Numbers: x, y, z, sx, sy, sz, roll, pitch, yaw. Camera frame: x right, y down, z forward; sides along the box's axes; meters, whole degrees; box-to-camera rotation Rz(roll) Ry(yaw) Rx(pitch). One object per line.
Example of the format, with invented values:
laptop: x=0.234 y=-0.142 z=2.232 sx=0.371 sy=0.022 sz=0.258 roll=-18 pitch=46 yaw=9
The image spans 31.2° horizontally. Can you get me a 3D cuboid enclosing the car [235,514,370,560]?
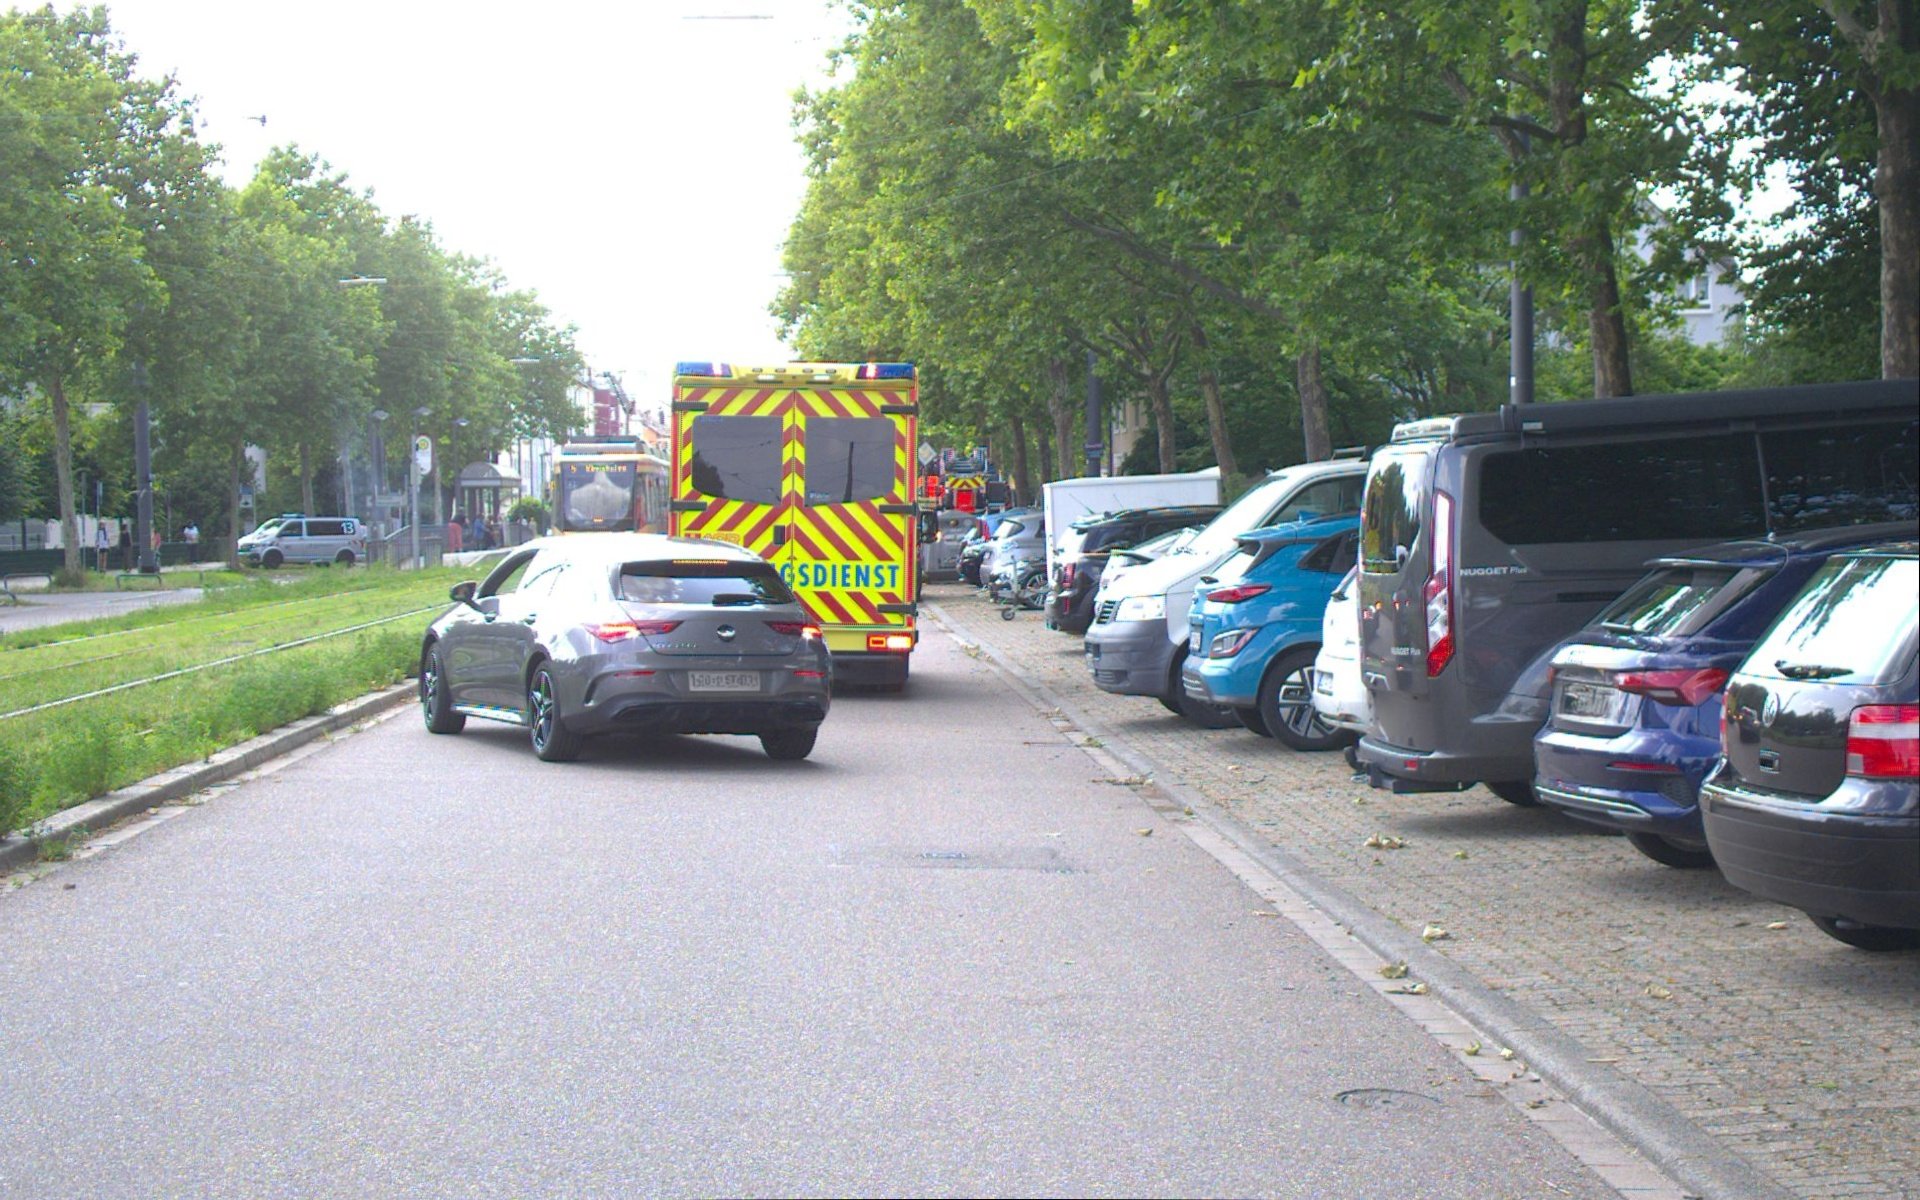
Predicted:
car: x=-24.670 y=-2.364 z=129.012 sx=4.615 sy=1.627 sz=1.882 roll=-2 pitch=2 yaw=-41

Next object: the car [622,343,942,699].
car: x=-1.555 y=-0.736 z=32.539 sx=2.641 sy=2.956 sz=6.300 roll=2 pitch=1 yaw=-1

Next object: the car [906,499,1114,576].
car: x=1.121 y=-1.442 z=78.884 sx=4.545 sy=1.603 sz=1.856 roll=-2 pitch=1 yaw=-6

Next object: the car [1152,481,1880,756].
car: x=3.741 y=0.092 z=23.542 sx=4.545 sy=1.654 sz=1.856 roll=-2 pitch=1 yaw=-6

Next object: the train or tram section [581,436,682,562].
train or tram section: x=-9.861 y=-2.986 z=103.676 sx=2.511 sy=3.572 sz=7.446 roll=-2 pitch=1 yaw=-2

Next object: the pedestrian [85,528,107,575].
pedestrian: x=-26.284 y=-1.482 z=104.539 sx=0.422 sy=1.409 sz=0.467 roll=-1 pitch=1 yaw=23

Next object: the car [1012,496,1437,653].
car: x=2.979 y=-0.311 z=39.284 sx=4.545 sy=1.603 sz=1.856 roll=-2 pitch=1 yaw=-6

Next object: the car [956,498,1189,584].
car: x=2.285 y=-1.212 z=70.681 sx=4.545 sy=1.603 sz=1.856 roll=-2 pitch=1 yaw=-6

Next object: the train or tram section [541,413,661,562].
train or tram section: x=-9.210 y=-2.828 z=88.810 sx=2.511 sy=3.572 sz=7.446 roll=-2 pitch=1 yaw=-2

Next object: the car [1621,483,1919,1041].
car: x=4.371 y=0.381 z=11.144 sx=3.964 sy=1.600 sz=1.757 roll=-2 pitch=1 yaw=-12

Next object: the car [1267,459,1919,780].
car: x=4.285 y=0.072 z=21.022 sx=4.545 sy=1.760 sz=1.856 roll=-2 pitch=1 yaw=-2

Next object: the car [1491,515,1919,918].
car: x=4.325 y=0.386 z=13.995 sx=3.965 sy=1.489 sz=1.756 roll=-2 pitch=1 yaw=-2

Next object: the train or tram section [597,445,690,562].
train or tram section: x=-10.175 y=-3.065 z=111.113 sx=2.511 sy=3.572 sz=7.446 roll=-2 pitch=1 yaw=-2

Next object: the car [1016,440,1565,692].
car: x=2.890 y=-0.322 z=30.646 sx=4.545 sy=2.036 sz=1.856 roll=-2 pitch=1 yaw=-6

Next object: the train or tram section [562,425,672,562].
train or tram section: x=-9.539 y=-2.907 z=96.236 sx=2.511 sy=3.572 sz=7.446 roll=-2 pitch=1 yaw=-2

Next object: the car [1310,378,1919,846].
car: x=4.168 y=0.001 z=17.125 sx=4.545 sy=2.116 sz=1.856 roll=-2 pitch=1 yaw=-2

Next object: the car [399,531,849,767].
car: x=-2.373 y=0.263 z=23.105 sx=1.760 sy=1.381 sz=4.469 roll=1 pitch=1 yaw=-23

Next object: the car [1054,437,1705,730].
car: x=3.114 y=-0.151 z=26.058 sx=4.545 sy=1.994 sz=1.856 roll=-2 pitch=1 yaw=-6

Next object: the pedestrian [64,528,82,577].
pedestrian: x=-26.486 y=-1.423 z=102.656 sx=0.421 sy=1.468 sz=0.467 roll=-1 pitch=1 yaw=-7

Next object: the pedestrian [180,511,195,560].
pedestrian: x=-28.717 y=-2.409 z=127.799 sx=0.466 sy=1.822 sz=0.423 roll=-1 pitch=1 yaw=-4

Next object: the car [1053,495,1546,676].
car: x=3.324 y=-0.166 z=34.136 sx=4.545 sy=1.603 sz=1.856 roll=-2 pitch=1 yaw=-6

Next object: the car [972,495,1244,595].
car: x=2.598 y=-0.981 z=60.836 sx=4.545 sy=1.603 sz=1.856 roll=-2 pitch=1 yaw=-6
